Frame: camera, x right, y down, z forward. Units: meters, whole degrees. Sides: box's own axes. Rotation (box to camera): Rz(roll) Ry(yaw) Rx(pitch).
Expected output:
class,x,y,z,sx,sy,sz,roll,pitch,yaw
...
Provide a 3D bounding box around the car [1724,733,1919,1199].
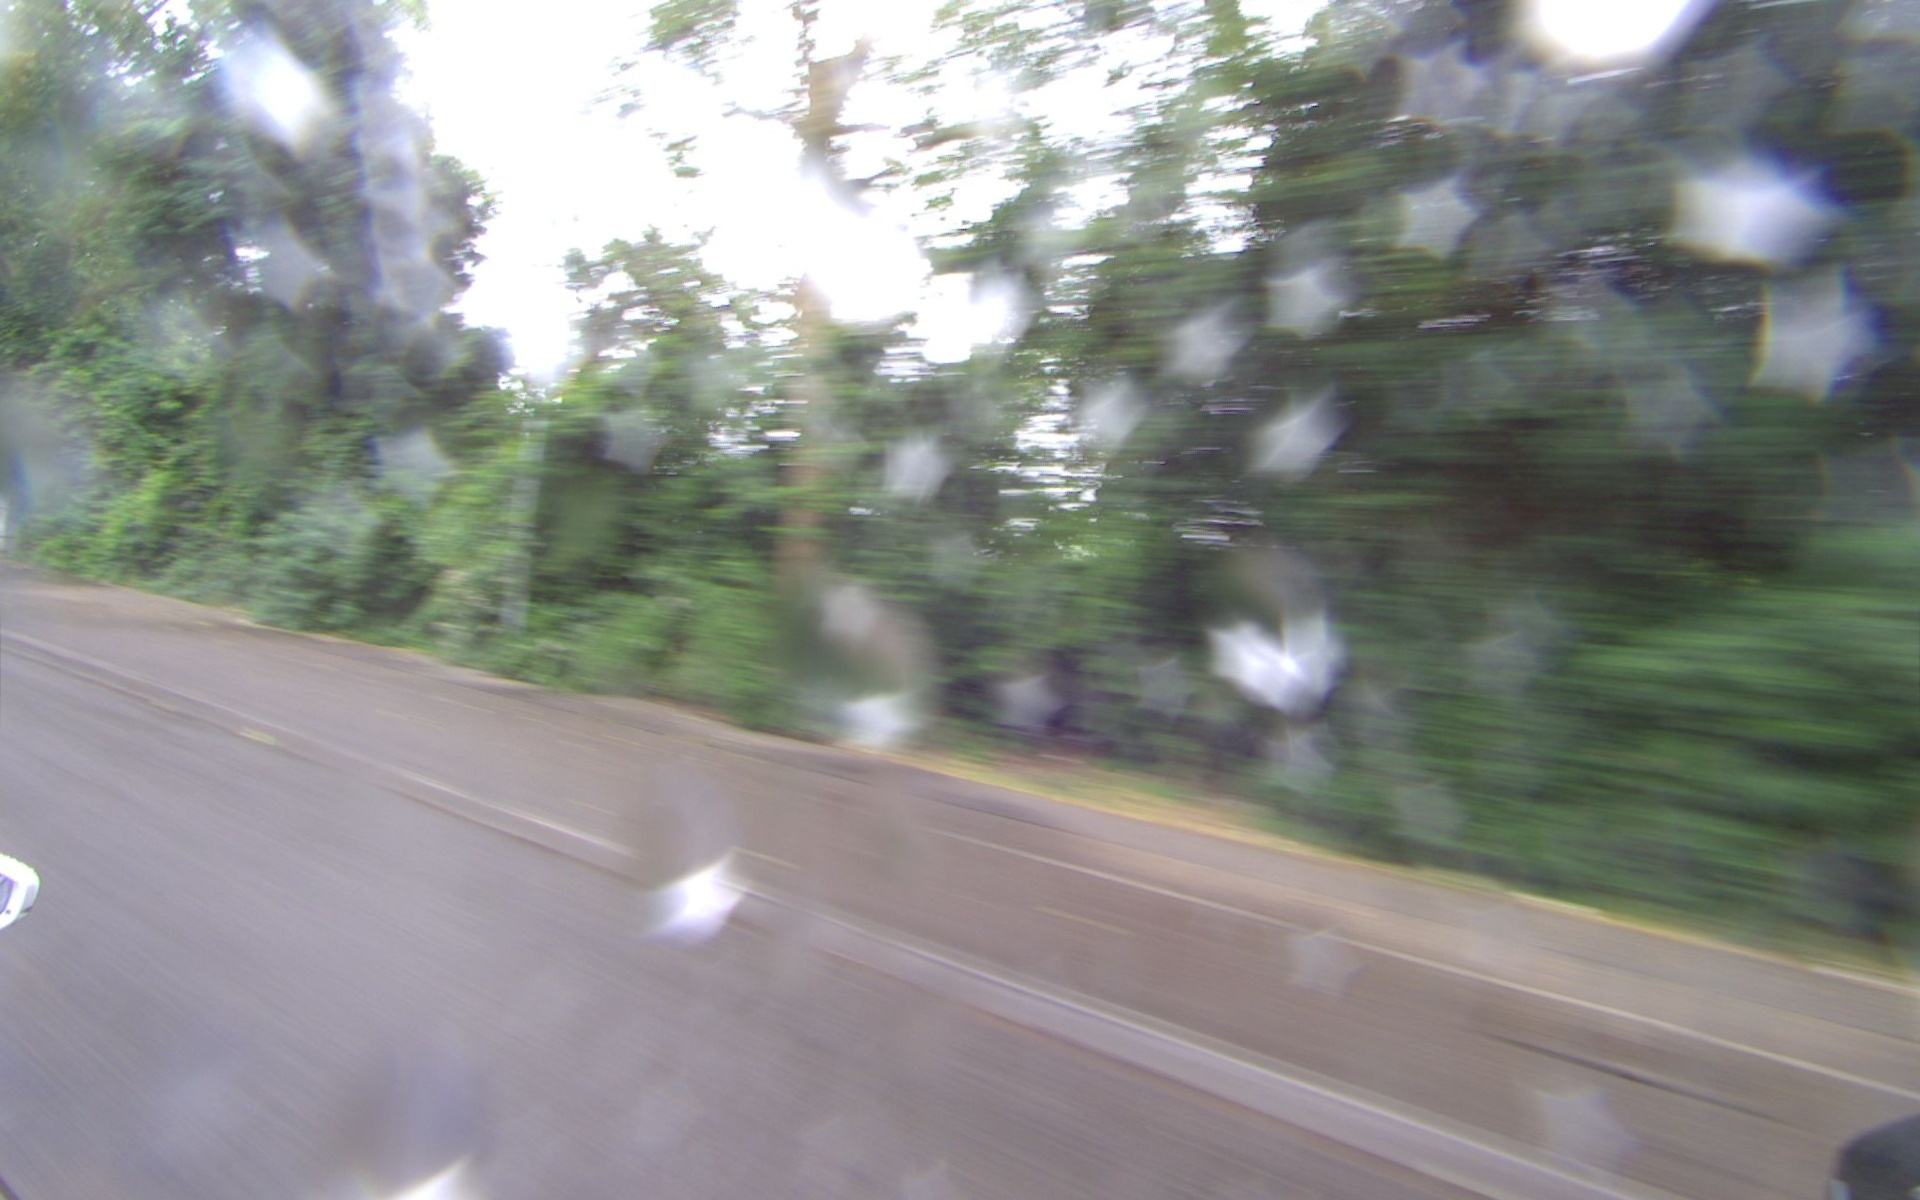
class,x,y,z,sx,sy,sz,roll,pitch,yaw
car,3.406,1.235,0.650,4.346,1.547,1.821,7,-2,29
